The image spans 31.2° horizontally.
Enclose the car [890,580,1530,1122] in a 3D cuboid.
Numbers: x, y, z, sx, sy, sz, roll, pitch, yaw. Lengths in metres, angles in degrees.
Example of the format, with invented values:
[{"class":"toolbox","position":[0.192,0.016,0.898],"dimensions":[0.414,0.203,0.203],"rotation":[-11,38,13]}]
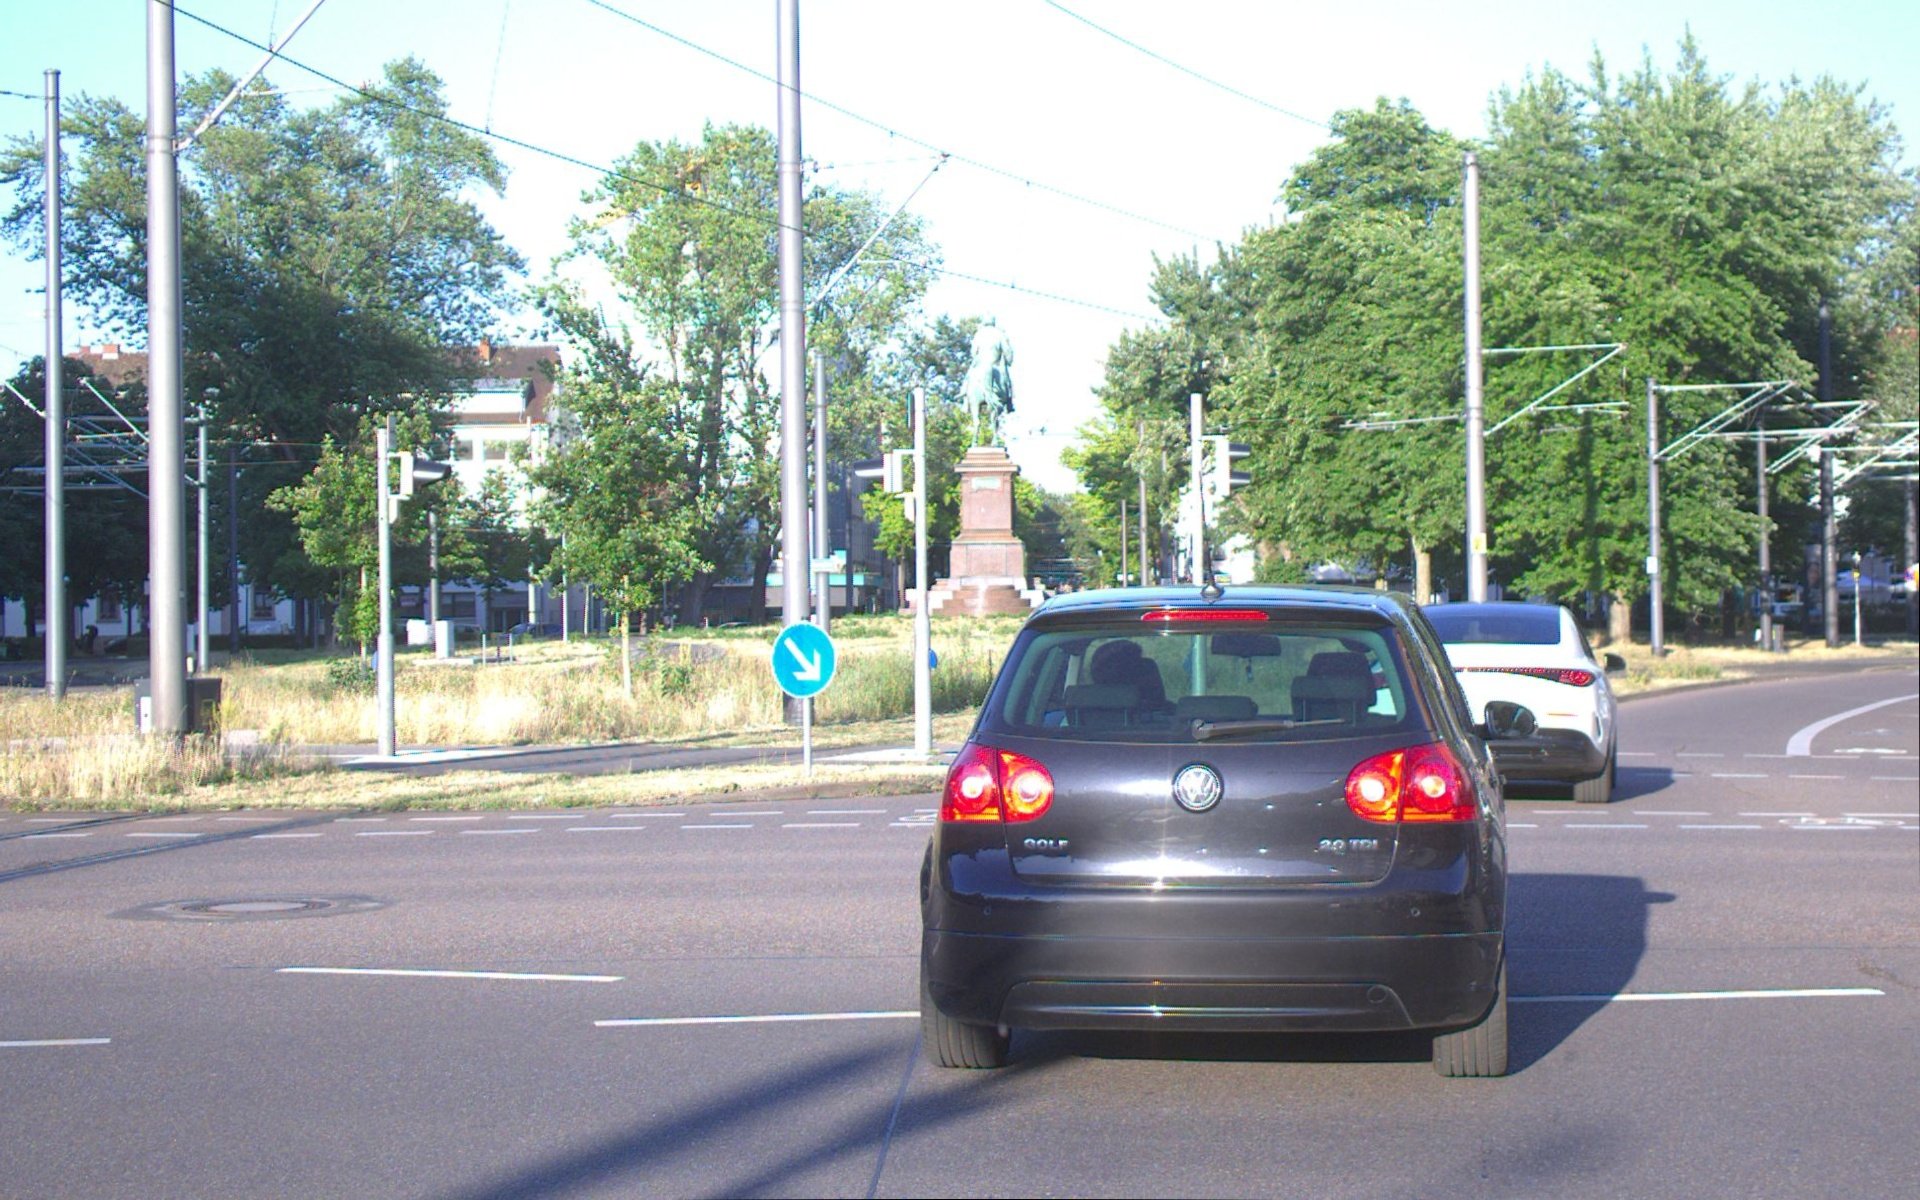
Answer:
[{"class":"car","position":[0.996,0.672,11.428],"dimensions":[1.748,1.456,4.101],"rotation":[0,0,9]}]

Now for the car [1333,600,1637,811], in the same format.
[{"class":"car","position":[4.019,0.727,25.808],"dimensions":[1.866,1.436,4.194],"rotation":[0,0,14]}]

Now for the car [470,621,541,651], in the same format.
[{"class":"car","position":[-22.729,1.794,172.017],"dimensions":[3.338,1.502,1.659],"rotation":[0,0,-1]}]
